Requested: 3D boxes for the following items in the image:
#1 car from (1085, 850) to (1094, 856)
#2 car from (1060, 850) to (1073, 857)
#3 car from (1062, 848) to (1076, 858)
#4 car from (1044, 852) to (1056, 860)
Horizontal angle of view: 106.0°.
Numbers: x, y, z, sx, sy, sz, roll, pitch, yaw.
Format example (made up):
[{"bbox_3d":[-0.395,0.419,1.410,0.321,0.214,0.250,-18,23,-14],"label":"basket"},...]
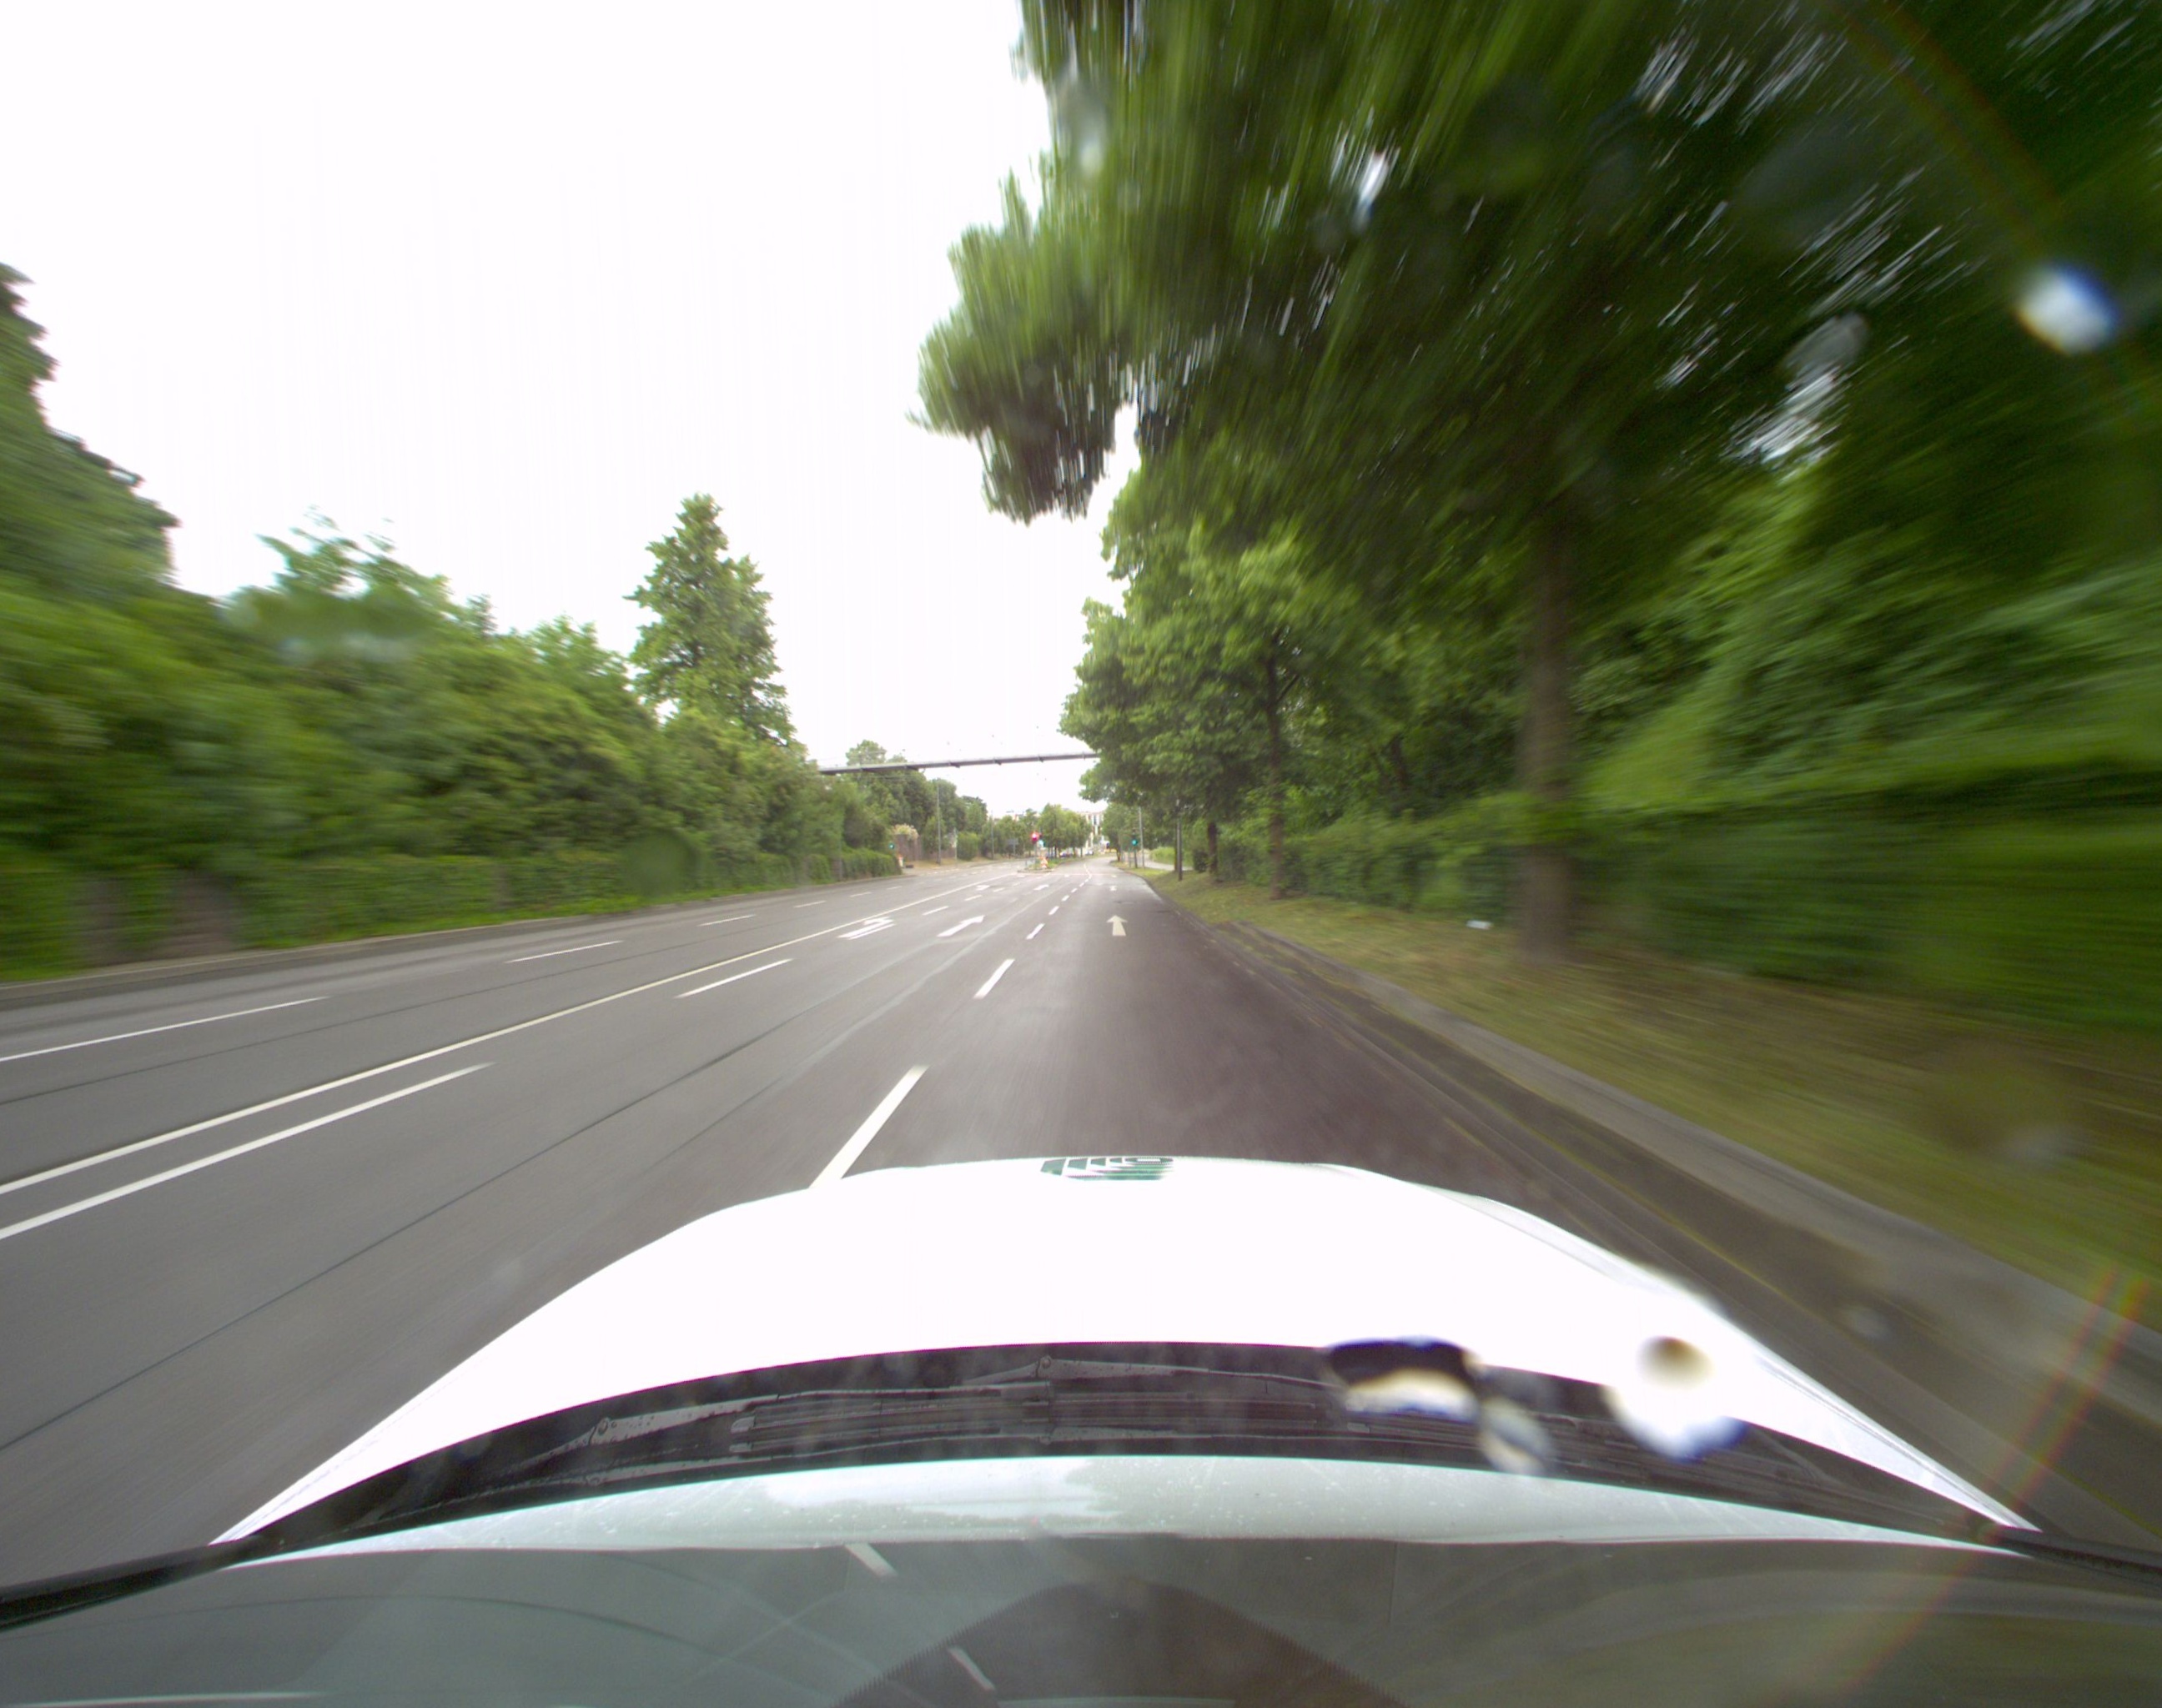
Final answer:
[{"bbox_3d":[1.996,-0.253,198.783,1.676,1.539,2.925,-1,1,10],"label":"car"},{"bbox_3d":[-3.098,-0.114,177.394,1.870,1.595,4.780,0,0,10],"label":"car"},{"bbox_3d":[-2.457,-0.240,168.504,2.001,1.919,5.109,-1,0,9],"label":"car"},{"bbox_3d":[-6.168,0.326,161.907,1.588,1.489,4.011,-1,0,9],"label":"car"}]
